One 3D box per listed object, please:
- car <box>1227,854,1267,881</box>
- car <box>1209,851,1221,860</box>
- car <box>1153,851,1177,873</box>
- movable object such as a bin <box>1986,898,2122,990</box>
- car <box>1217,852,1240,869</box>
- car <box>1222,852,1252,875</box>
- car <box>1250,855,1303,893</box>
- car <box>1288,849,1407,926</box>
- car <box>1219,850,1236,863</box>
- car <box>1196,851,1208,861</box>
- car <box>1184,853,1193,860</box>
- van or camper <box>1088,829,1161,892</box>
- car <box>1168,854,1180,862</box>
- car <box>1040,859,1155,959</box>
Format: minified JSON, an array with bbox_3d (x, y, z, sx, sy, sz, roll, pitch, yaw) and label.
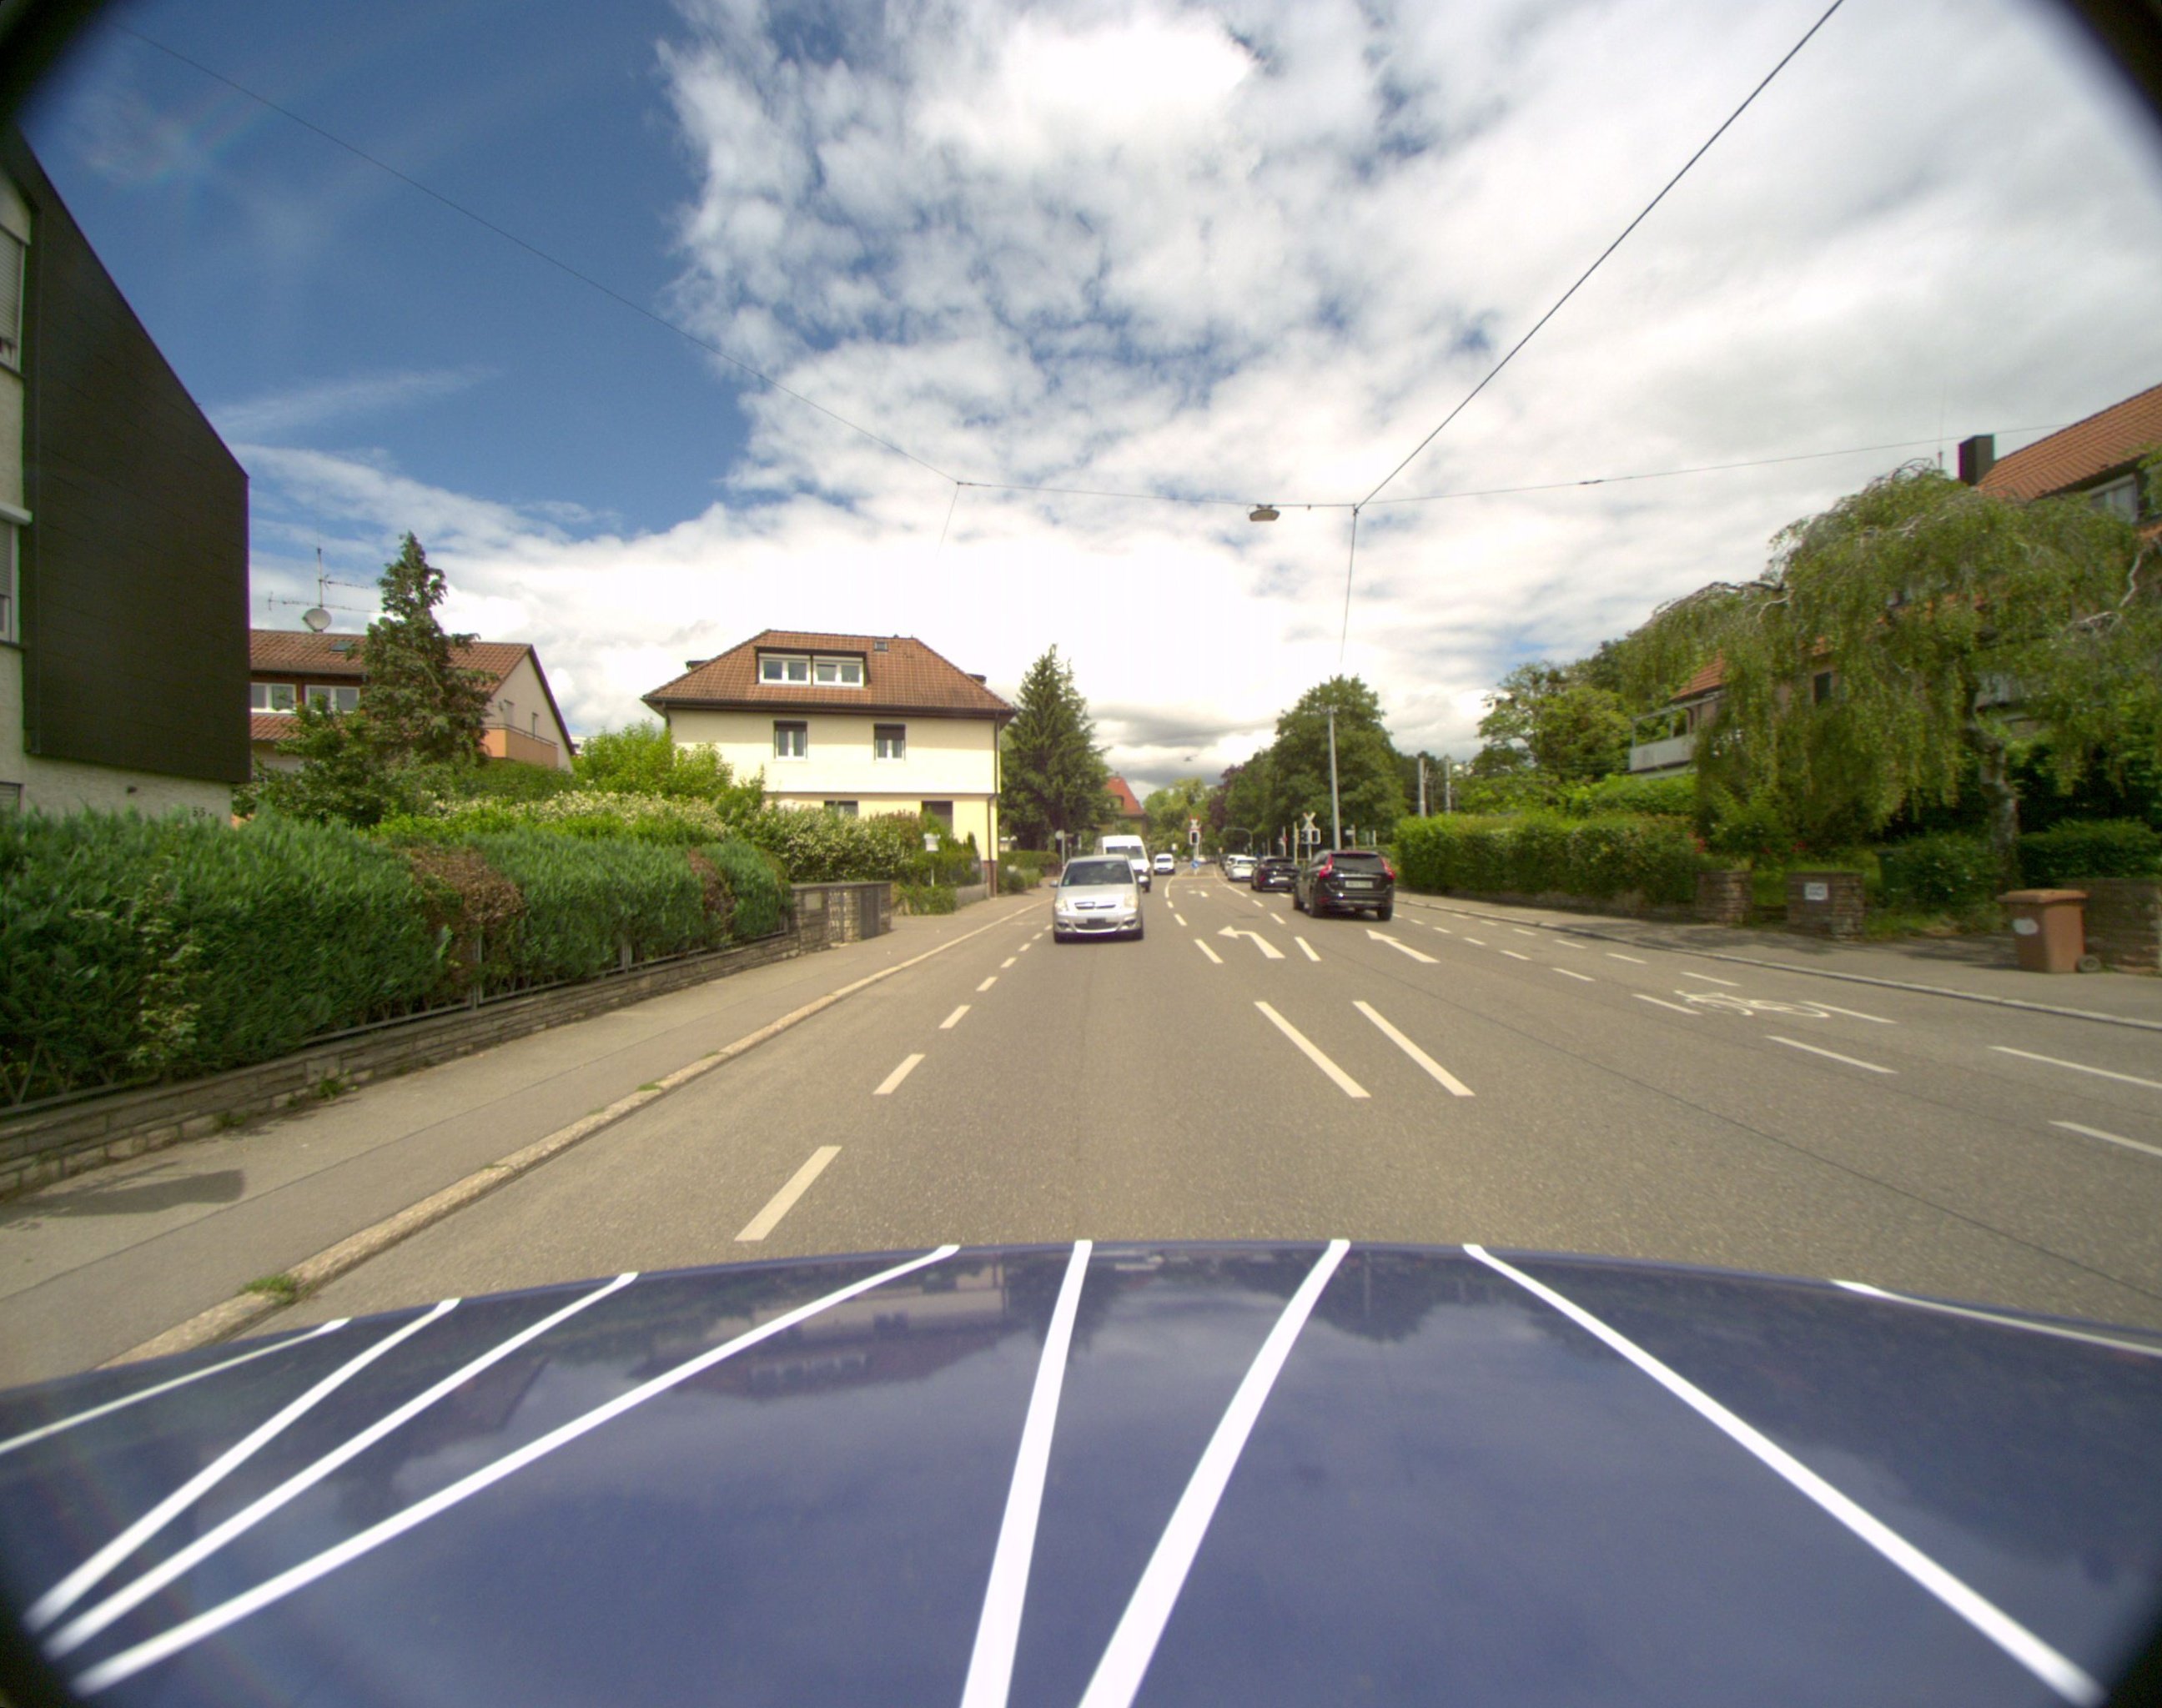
[{"bbox_3d":[9.707,0.746,44.764,1.880,1.467,4.444,0,0,7],"label":"car"},{"bbox_3d":[23.708,0.207,134.363,1.932,1.412,4.003,-2,0,9],"label":"car"},{"bbox_3d":[7.601,0.696,68.392,1.932,1.771,4.002,-2,0,7],"label":"car"},{"bbox_3d":[10.923,0.996,8.551,0.678,0.939,0.645,-2,0,3],"label":"movable object such as a bin"},{"bbox_3d":[14.580,0.593,75.261,1.801,1.583,4.002,-2,0,7],"label":"car"},{"bbox_3d":[11.704,0.677,57.219,1.851,1.565,4.161,-2,0,7],"label":"car"},{"bbox_3d":[8.177,0.798,32.122,1.700,1.448,4.118,0,1,8],"label":"car"},{"bbox_3d":[6.597,0.747,19.315,1.920,1.639,4.296,3,1,7],"label":"car"},{"bbox_3d":[18.604,0.344,96.387,1.784,1.576,4.002,-1,0,7],"label":"car"},{"bbox_3d":[19.414,0.283,121.943,1.932,1.412,4.003,-2,0,9],"label":"car"},{"bbox_3d":[23.414,0.492,165.779,1.932,1.412,4.003,-2,0,9],"label":"car"},{"bbox_3d":[1.868,0.352,34.875,2.031,2.564,5.919,-2,-1,-9],"label":"van or camper"},{"bbox_3d":[18.661,0.864,152.172,1.997,1.419,4.002,-3,0,10],"label":"car"},{"bbox_3d":[0.468,0.924,14.562,1.707,1.531,4.333,-2,0,7],"label":"car"}]
